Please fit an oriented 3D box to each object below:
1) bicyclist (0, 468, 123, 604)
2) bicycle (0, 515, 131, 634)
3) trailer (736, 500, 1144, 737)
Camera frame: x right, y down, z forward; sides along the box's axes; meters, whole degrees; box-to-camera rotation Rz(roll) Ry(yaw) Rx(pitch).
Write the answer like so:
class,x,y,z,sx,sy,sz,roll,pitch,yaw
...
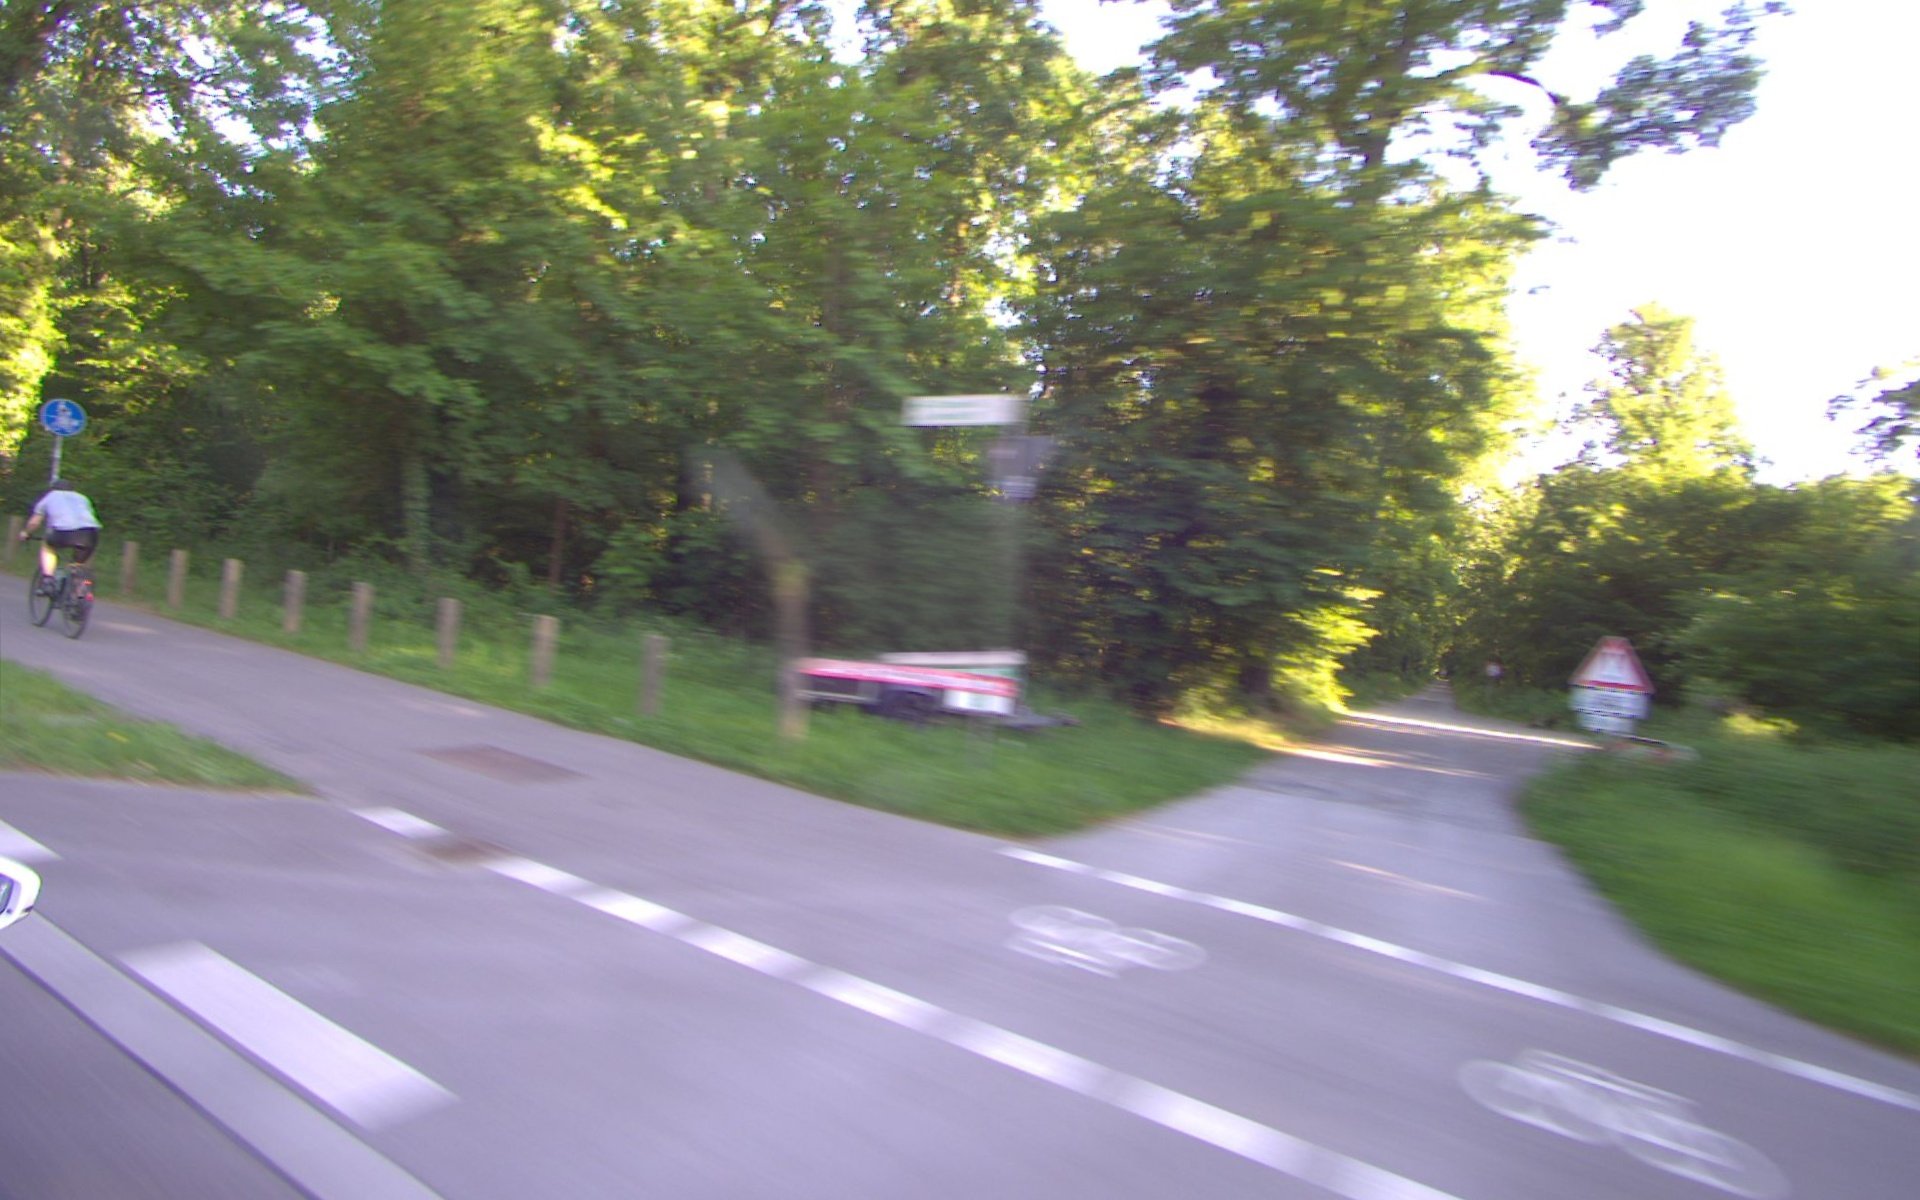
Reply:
class,x,y,z,sx,sy,sz,roll,pitch,yaw
bicyclist,-9.865,-0.698,10.973,1.086,1.304,0.713,7,0,32
bicycle,-9.985,-0.306,11.013,2.019,1.068,0.713,7,0,32
trailer,-0.300,0.252,11.698,4.165,2.046,1.992,7,0,-18
